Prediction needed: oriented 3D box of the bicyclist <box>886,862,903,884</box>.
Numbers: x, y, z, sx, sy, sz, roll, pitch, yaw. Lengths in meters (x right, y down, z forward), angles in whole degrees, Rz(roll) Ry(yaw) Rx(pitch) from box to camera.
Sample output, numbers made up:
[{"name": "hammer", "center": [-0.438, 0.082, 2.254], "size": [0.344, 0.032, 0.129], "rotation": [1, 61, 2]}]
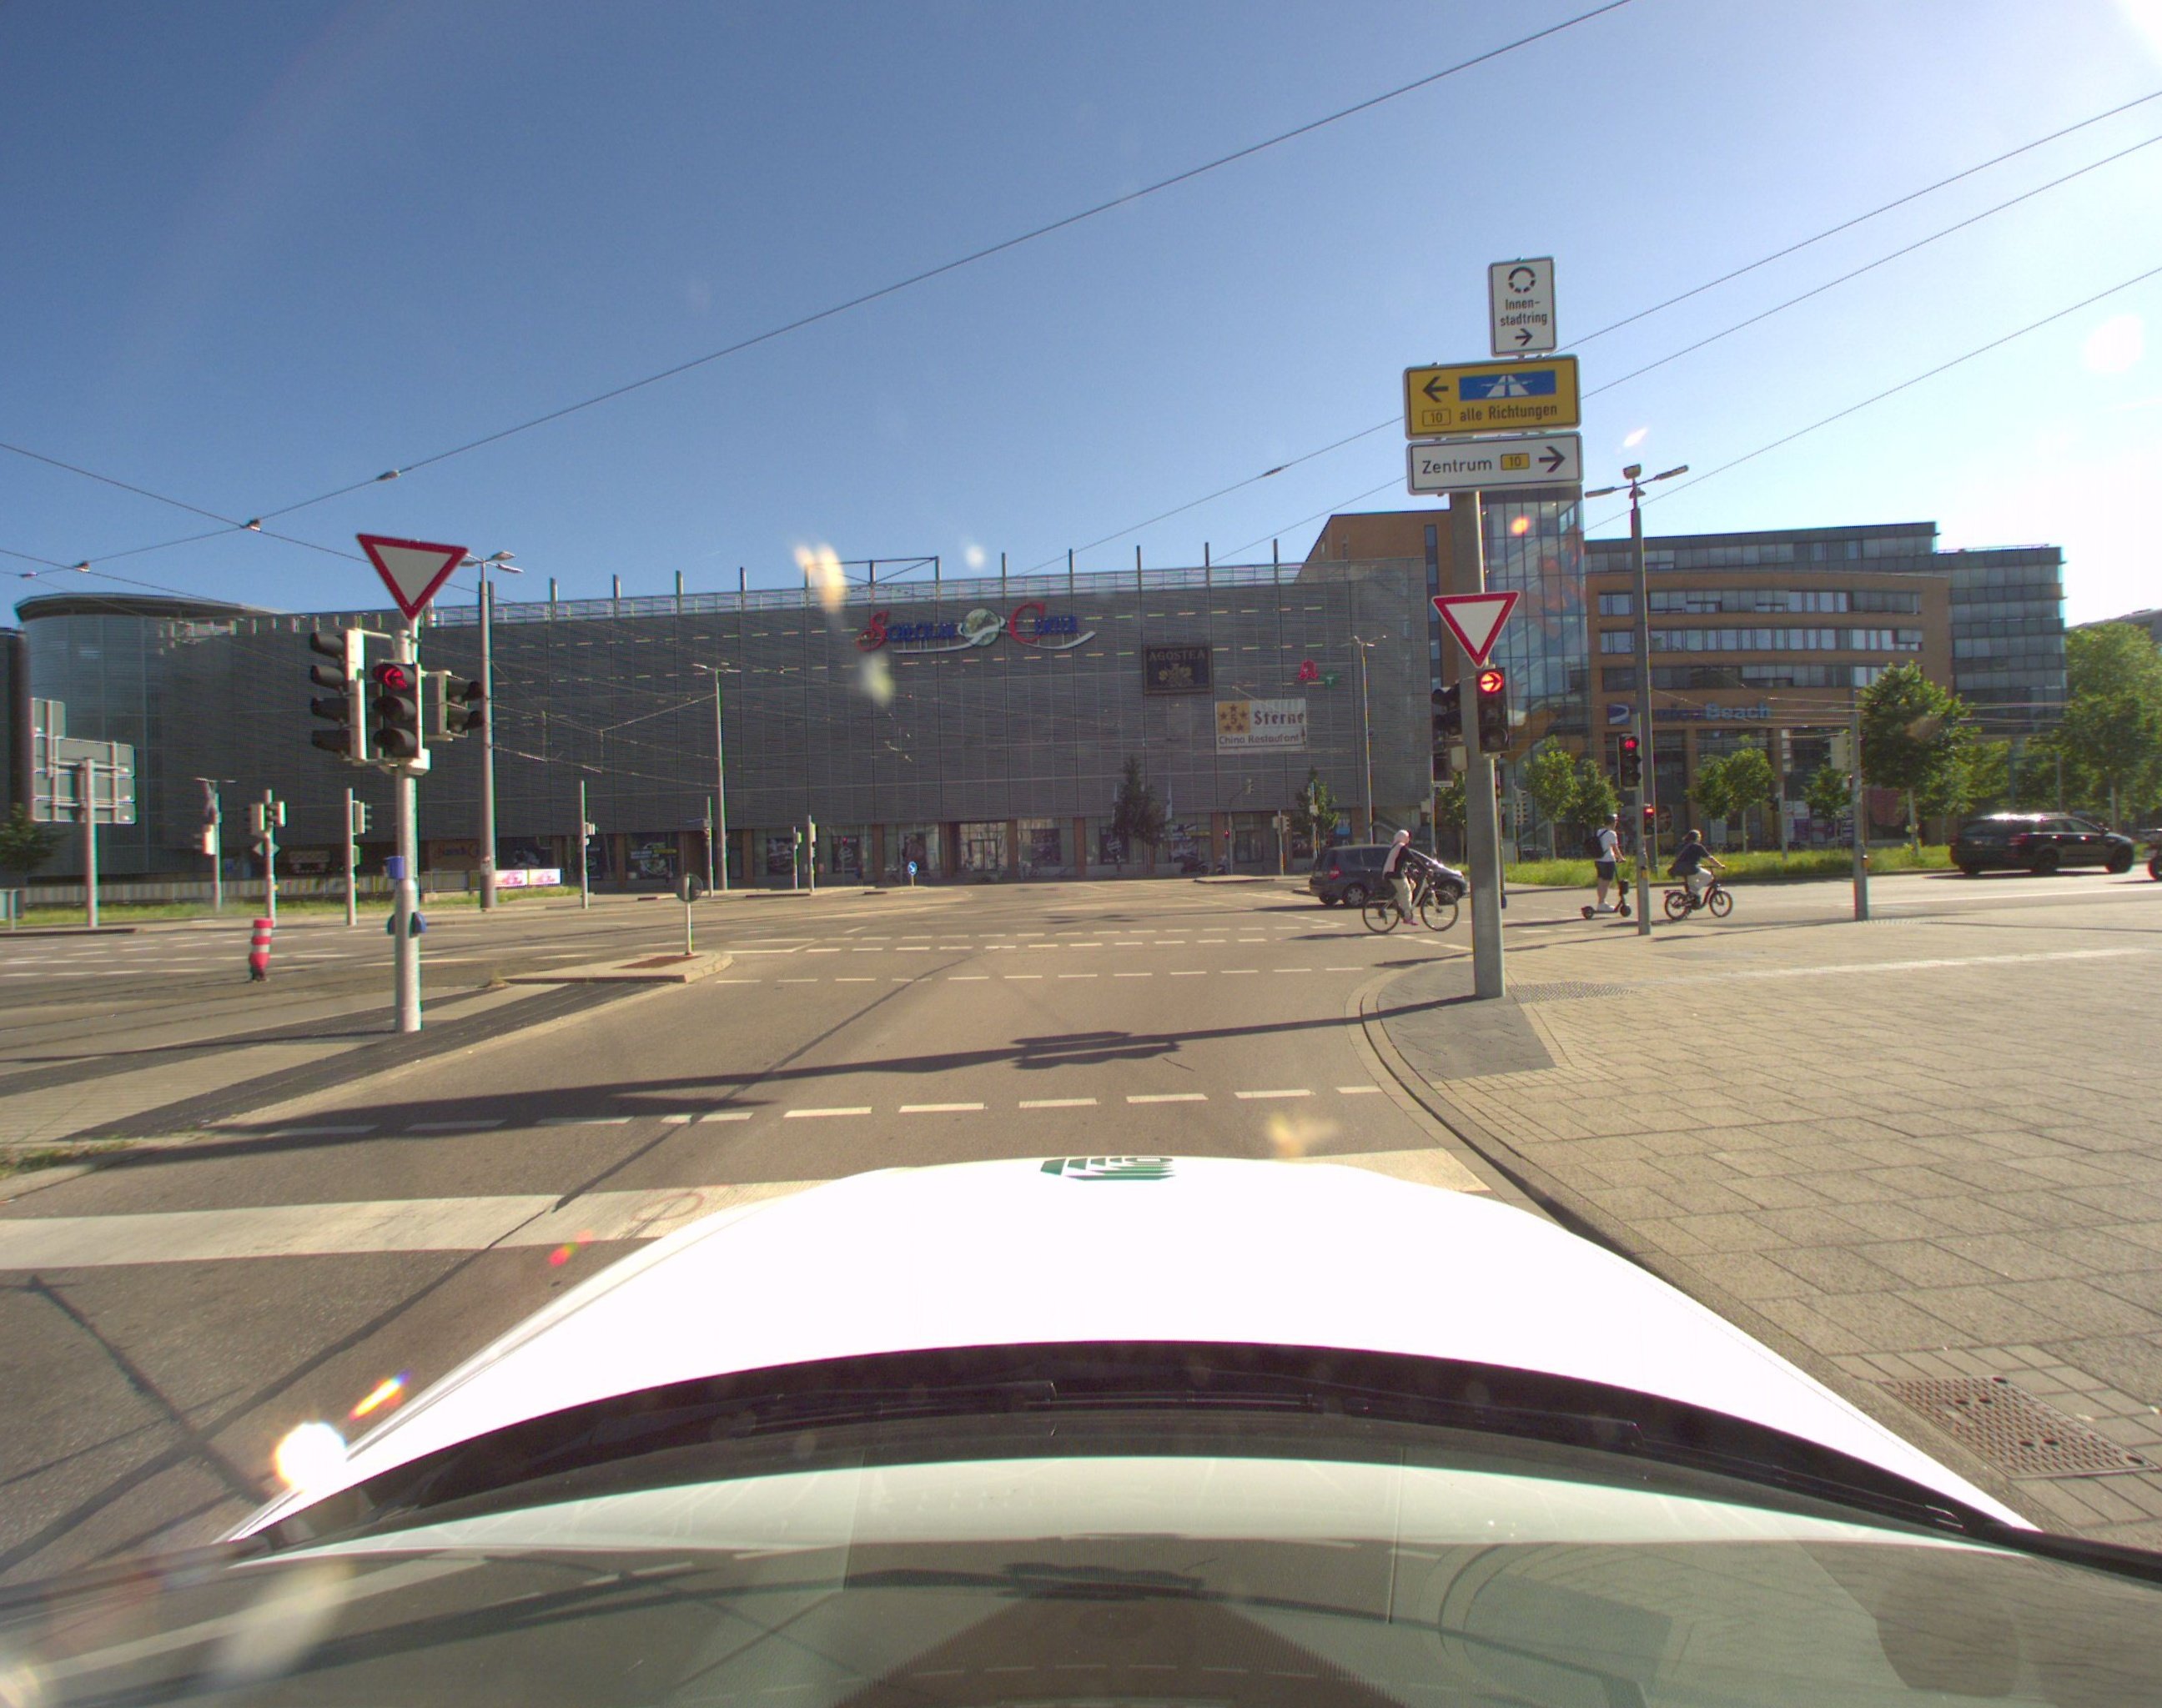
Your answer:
[{"name": "bicyclist", "center": [-12.626, 1.275, 55.238], "size": [0.667, 1.427, 0.855], "rotation": [-1, 2, 45]}]

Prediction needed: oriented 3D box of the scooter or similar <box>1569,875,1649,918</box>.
[{"name": "scooter or similar", "center": [10.306, 0.819, 15.919], "size": [1.208, 0.786, 0.613], "rotation": [0, -1, -9]}]

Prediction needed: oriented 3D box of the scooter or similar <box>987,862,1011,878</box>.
[{"name": "scooter or similar", "center": [-6.182, 1.204, 61.232], "size": [1.790, 1.066, 0.611], "rotation": [-2, 1, -6]}]

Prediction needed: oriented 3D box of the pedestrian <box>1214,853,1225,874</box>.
[{"name": "pedestrian", "center": [9.407, 0.631, 55.201], "size": [0.650, 1.414, 0.853], "rotation": [-1, -1, 12]}]

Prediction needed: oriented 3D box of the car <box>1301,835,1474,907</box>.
[{"name": "car", "center": [7.585, 0.401, 20.343], "size": [3.683, 1.646, 1.644], "rotation": [-2, 0, -5]}]

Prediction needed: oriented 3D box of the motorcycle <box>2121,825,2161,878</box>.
[{"name": "motorcycle", "center": [27.409, -0.084, 20.339], "size": [2.259, 1.282, 0.586], "rotation": [-1, -1, -5]}]

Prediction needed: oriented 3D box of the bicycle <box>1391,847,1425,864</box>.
[{"name": "bicycle", "center": [24.345, 0.112, 60.617], "size": [2.247, 1.296, 0.606], "rotation": [0, -1, 0]}]

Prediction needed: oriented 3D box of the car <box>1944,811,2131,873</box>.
[{"name": "car", "center": [27.489, -0.349, 23.446], "size": [4.186, 1.646, 1.641], "rotation": [-2, 0, -11]}]

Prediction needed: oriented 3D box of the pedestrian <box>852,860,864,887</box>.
[{"name": "pedestrian", "center": [-15.201, 1.311, 55.463], "size": [0.695, 1.797, 0.727], "rotation": [-3, 0, -14]}]

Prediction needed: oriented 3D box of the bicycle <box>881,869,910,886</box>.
[{"name": "bicycle", "center": [-12.583, 1.586, 55.311], "size": [0.562, 1.086, 1.874], "rotation": [-1, 2, 45]}]

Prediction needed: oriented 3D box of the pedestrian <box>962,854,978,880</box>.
[{"name": "pedestrian", "center": [-8.236, 0.957, 60.439], "size": [0.945, 1.828, 0.848], "rotation": [-3, 0, 7]}]

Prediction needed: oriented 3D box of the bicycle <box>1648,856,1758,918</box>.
[{"name": "bicycle", "center": [11.763, 0.609, 15.412], "size": [1.753, 1.137, 0.585], "rotation": [0, -1, -9]}]

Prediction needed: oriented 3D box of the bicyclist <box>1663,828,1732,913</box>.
[{"name": "bicyclist", "center": [11.646, 0.312, 15.390], "size": [0.882, 1.566, 0.572], "rotation": [0, -1, -8]}]

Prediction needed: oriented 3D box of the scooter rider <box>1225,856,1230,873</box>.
[{"name": "scooter rider", "center": [9.909, 0.706, 54.948], "size": [0.286, 1.200, 0.387], "rotation": [-1, -1, 12]}]

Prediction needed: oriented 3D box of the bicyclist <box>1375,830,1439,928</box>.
[{"name": "bicyclist", "center": [5.780, 0.436, 14.449], "size": [0.881, 1.707, 0.573], "rotation": [0, -1, -5]}]

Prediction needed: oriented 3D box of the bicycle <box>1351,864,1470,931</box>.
[{"name": "bicycle", "center": [5.834, 0.749, 14.449], "size": [1.897, 1.137, 0.580], "rotation": [-1, -1, -5]}]

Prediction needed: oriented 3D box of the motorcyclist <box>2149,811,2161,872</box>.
[{"name": "motorcyclist", "center": [27.517, -0.322, 20.354], "size": [0.898, 1.535, 0.586], "rotation": [-1, -1, -4]}]

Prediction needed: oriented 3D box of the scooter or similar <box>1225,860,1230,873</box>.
[{"name": "scooter or similar", "center": [9.922, 0.870, 55.007], "size": [0.293, 0.873, 1.007], "rotation": [-1, -1, 12]}]

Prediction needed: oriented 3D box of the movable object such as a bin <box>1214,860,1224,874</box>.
[{"name": "movable object such as a bin", "center": [9.273, 0.882, 54.738], "size": [0.608, 0.904, 0.972], "rotation": [-1, -1, 12]}]

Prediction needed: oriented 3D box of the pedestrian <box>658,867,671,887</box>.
[{"name": "pedestrian", "center": [-32.605, 1.811, 63.803], "size": [0.654, 1.601, 0.597], "rotation": [-1, -1, 20]}]

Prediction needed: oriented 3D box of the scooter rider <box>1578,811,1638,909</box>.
[{"name": "scooter rider", "center": [10.292, 0.121, 15.920], "size": [0.783, 1.872, 0.572], "rotation": [0, -1, -8]}]

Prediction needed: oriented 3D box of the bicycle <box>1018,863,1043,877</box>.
[{"name": "bicycle", "center": [-3.779, 1.175, 60.790], "size": [1.815, 0.989, 0.556], "rotation": [-2, 1, -8]}]

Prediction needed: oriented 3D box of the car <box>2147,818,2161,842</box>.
[{"name": "car", "center": [79.391, -1.689, 58.675], "size": [4.300, 1.645, 1.830], "rotation": [2, -1, -18]}]

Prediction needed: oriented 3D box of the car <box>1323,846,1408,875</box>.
[{"name": "car", "center": [15.884, 0.349, 45.619], "size": [4.132, 1.470, 1.841], "rotation": [2, -1, 0]}]

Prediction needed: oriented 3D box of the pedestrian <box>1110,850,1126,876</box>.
[{"name": "pedestrian", "center": [2.688, 0.647, 59.458], "size": [1.007, 1.828, 1.037], "rotation": [-3, 0, 5]}]

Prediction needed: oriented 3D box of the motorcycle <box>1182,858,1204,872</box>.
[{"name": "motorcycle", "center": [8.315, 0.831, 60.595], "size": [1.630, 1.004, 0.448], "rotation": [0, 0, 8]}]
